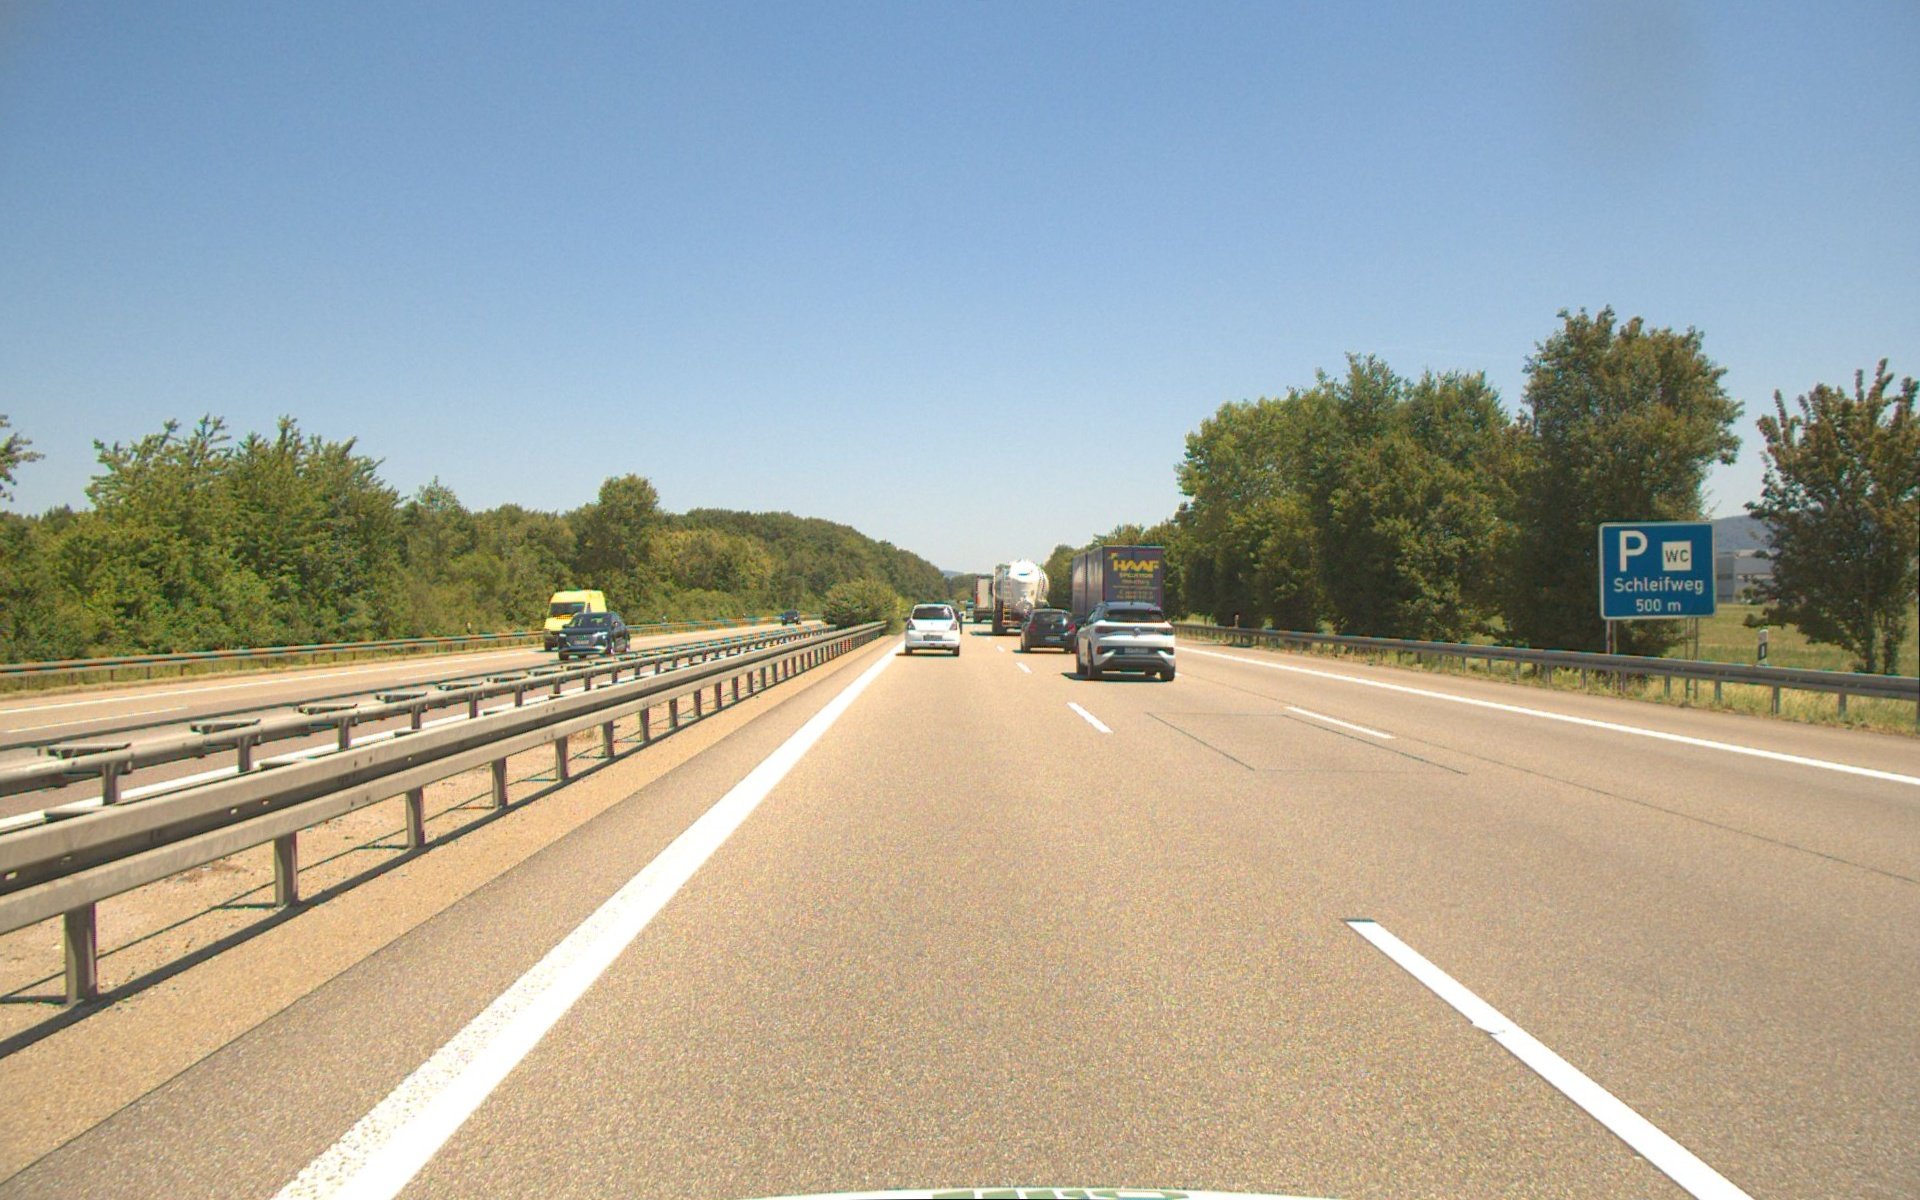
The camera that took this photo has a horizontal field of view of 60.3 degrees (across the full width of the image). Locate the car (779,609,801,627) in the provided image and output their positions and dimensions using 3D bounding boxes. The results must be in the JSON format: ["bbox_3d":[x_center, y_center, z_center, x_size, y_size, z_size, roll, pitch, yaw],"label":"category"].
[{"bbox_3d":[-17.806,1.856,173.006,1.885,1.747,4.287,-1,0,0],"label":"car"}]

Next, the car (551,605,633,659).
[{"bbox_3d":[-12.766,1.084,57.636,1.830,1.719,4.625,-2,0,-1],"label":"car"}]

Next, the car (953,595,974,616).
[{"bbox_3d":[0.392,0.605,193.040,2.424,2.395,5.181,1,0,0],"label":"car"}]

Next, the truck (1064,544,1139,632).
[{"bbox_3d":[7.083,-0.588,83.845,3.045,4.211,8.056,1,0,0],"label":"truck"}]

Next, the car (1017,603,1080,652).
[{"bbox_3d":[2.914,0.891,55.084,1.813,1.549,3.956,1,0,-1],"label":"car"}]

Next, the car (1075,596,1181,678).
[{"bbox_3d":[3.570,0.762,35.851,1.766,1.631,4.380,1,0,-1],"label":"car"}]

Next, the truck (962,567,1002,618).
[{"bbox_3d":[1.866,-0.618,147.229,3.325,4.287,12.082,1,0,0],"label":"truck"}]

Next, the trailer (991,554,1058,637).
[{"bbox_3d":[3.365,-0.239,89.706,2.852,4.140,12.415,1,0,-1],"label":"trailer"}]

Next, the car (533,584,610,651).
[{"bbox_3d":[-17.498,0.755,74.840,2.121,2.828,5.798,-2,0,-1],"label":"car"}]

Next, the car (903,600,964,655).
[{"bbox_3d":[-0.837,0.798,50.386,1.763,1.579,3.609,1,0,-2],"label":"car"}]

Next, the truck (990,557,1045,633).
[{"bbox_3d":[3.266,-0.277,95.396,2.852,4.150,7.194,1,0,0],"label":"truck"}]

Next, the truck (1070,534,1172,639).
[{"bbox_3d":[7.099,-0.545,75.316,3.045,4.211,15.510,1,0,0],"label":"truck"}]
